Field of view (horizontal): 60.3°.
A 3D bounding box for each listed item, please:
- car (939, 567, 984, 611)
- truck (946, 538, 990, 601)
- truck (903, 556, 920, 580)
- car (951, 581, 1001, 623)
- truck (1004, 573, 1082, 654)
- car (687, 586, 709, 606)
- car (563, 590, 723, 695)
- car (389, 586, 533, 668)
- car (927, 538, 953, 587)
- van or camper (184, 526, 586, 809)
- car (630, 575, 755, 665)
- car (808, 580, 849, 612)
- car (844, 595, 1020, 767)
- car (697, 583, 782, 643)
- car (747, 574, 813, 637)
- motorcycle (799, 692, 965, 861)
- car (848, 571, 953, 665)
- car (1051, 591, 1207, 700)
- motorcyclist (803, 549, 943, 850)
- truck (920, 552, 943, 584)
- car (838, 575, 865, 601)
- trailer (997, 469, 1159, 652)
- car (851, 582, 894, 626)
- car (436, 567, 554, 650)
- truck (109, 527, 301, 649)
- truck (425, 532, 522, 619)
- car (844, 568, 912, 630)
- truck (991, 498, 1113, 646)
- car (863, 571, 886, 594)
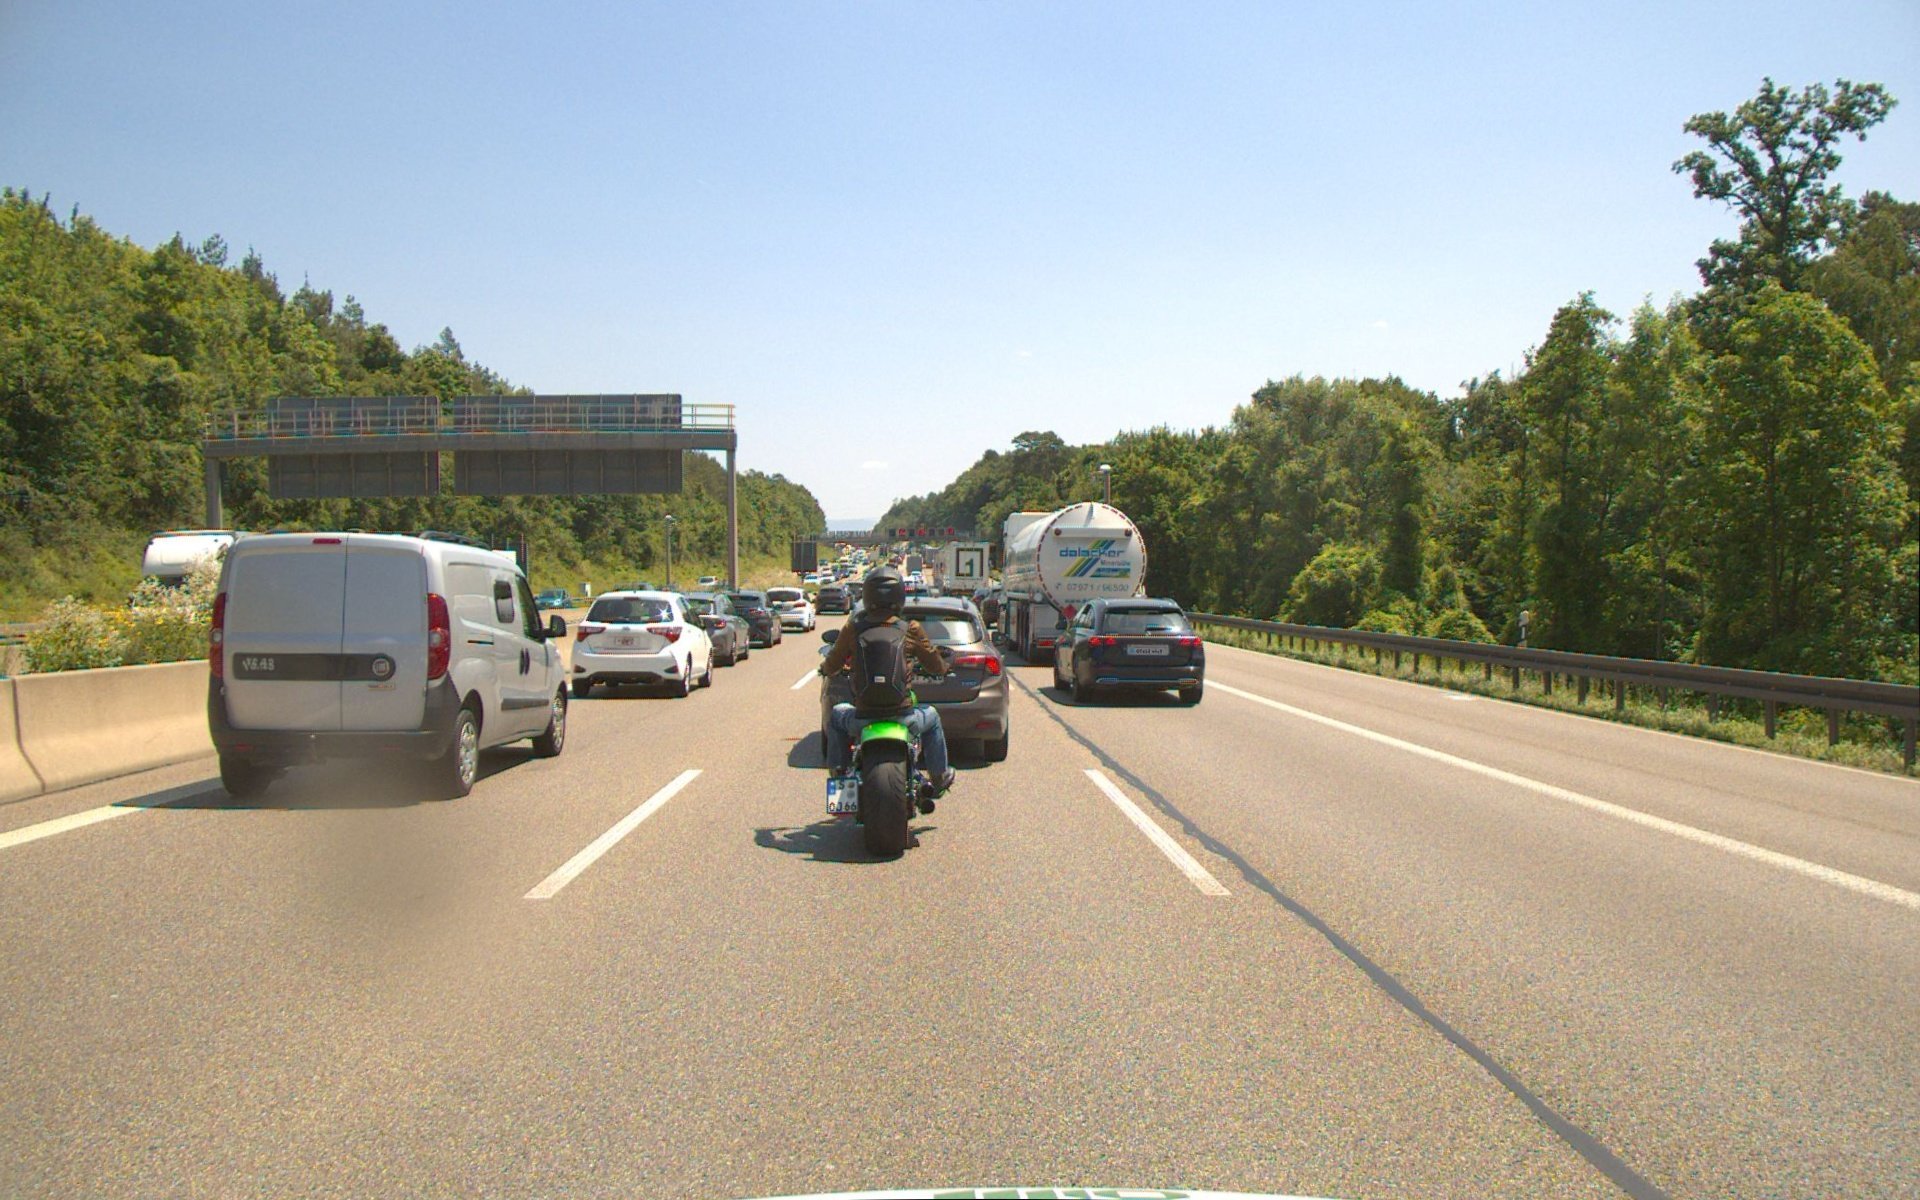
[{"bbox_3d":[0.057,-0.509,80.839,1.954,2.049,3.997,1,-1,-3],"label":"car"},{"bbox_3d":[0.567,-1.924,108.901,2.795,3.888,7.188,1,-1,1],"label":"truck"},{"bbox_3d":[-7.448,-4.840,254.887,2.642,3.465,10.474,-1,0,-2],"label":"truck"},{"bbox_3d":[0.578,0.100,63.063,1.740,1.554,3.998,1,-1,-2],"label":"car"},{"bbox_3d":[3.220,0.494,66.073,2.341,3.031,8.248,0,0,-3],"label":"truck"},{"bbox_3d":[-27.851,-0.393,175.782,1.862,2.049,3.999,-1,0,-2],"label":"car"},{"bbox_3d":[-4.702,0.616,25.045,1.740,1.435,3.998,1,-1,-2],"label":"car"},{"bbox_3d":[-9.764,0.486,32.642,1.788,1.521,3.998,0,0,-3],"label":"car"},{"bbox_3d":[-1.757,-3.190,143.733,2.123,3.961,9.326,1,-1,-2],"label":"car"},{"bbox_3d":[-4.440,0.438,13.572,1.815,1.913,4.560,1,1,-2],"label":"van or camper"},{"bbox_3d":[-5.414,0.414,33.986,1.953,1.713,4.328,1,-1,-2],"label":"car"},{"bbox_3d":[-6.414,-0.185,81.076,1.728,1.467,3.999,1,-1,-1],"label":"car"},{"bbox_3d":[-0.296,0.694,16.304,1.510,1.475,3.999,1,0,-2],"label":"car"},{"bbox_3d":[-5.737,0.350,43.427,1.954,1.490,3.996,1,-1,-4],"label":"car"},{"bbox_3d":[-6.104,0.213,56.474,1.953,2.049,3.998,1,-1,-2],"label":"car"},{"bbox_3d":[-0.468,1.052,10.394,0.917,0.807,2.298,1,0,-2],"label":"motorcycle"},{"bbox_3d":[-1.190,0.365,32.880,1.953,1.741,3.998,1,-1,-3],"label":"car"},{"bbox_3d":[2.455,0.655,25.017,1.756,1.484,4.622,1,-1,-2],"label":"car"},{"bbox_3d":[-0.513,0.577,9.980,0.783,1.717,1.016,1,-1,-2],"label":"motorcyclist"},{"bbox_3d":[-3.385,-3.723,193.896,2.642,3.465,10.474,-1,0,-2],"label":"truck"},{"bbox_3d":[-7.045,-0.788,107.638,1.627,1.627,3.999,0,0,-1],"label":"car"},{"bbox_3d":[2.563,-0.753,39.502,2.771,3.735,10.728,1,-1,-2],"label":"trailer"},{"bbox_3d":[-4.164,0.223,79.166,1.953,2.049,3.998,1,-1,-2],"label":"car"},{"bbox_3d":[-12.090,0.237,43.271,1.953,2.049,3.999,1,-1,-1],"label":"car"},{"bbox_3d":[-19.569,-0.251,43.309,2.134,2.935,6.739,1,-1,-2],"label":"truck"},{"bbox_3d":[-24.027,-1.111,82.105,2.638,4.059,7.987,1,-1,-2],"label":"truck"},{"bbox_3d":[-2.480,0.004,50.429,1.953,1.806,3.998,1,-1,-3],"label":"car"},{"bbox_3d":[2.409,-0.674,45.170,2.771,3.735,6.427,1,-1,-2],"label":"truck"},{"bbox_3d":[-7.528,-1.540,146.289,1.953,2.049,3.999,-1,0,-2],"label":"car"}]
